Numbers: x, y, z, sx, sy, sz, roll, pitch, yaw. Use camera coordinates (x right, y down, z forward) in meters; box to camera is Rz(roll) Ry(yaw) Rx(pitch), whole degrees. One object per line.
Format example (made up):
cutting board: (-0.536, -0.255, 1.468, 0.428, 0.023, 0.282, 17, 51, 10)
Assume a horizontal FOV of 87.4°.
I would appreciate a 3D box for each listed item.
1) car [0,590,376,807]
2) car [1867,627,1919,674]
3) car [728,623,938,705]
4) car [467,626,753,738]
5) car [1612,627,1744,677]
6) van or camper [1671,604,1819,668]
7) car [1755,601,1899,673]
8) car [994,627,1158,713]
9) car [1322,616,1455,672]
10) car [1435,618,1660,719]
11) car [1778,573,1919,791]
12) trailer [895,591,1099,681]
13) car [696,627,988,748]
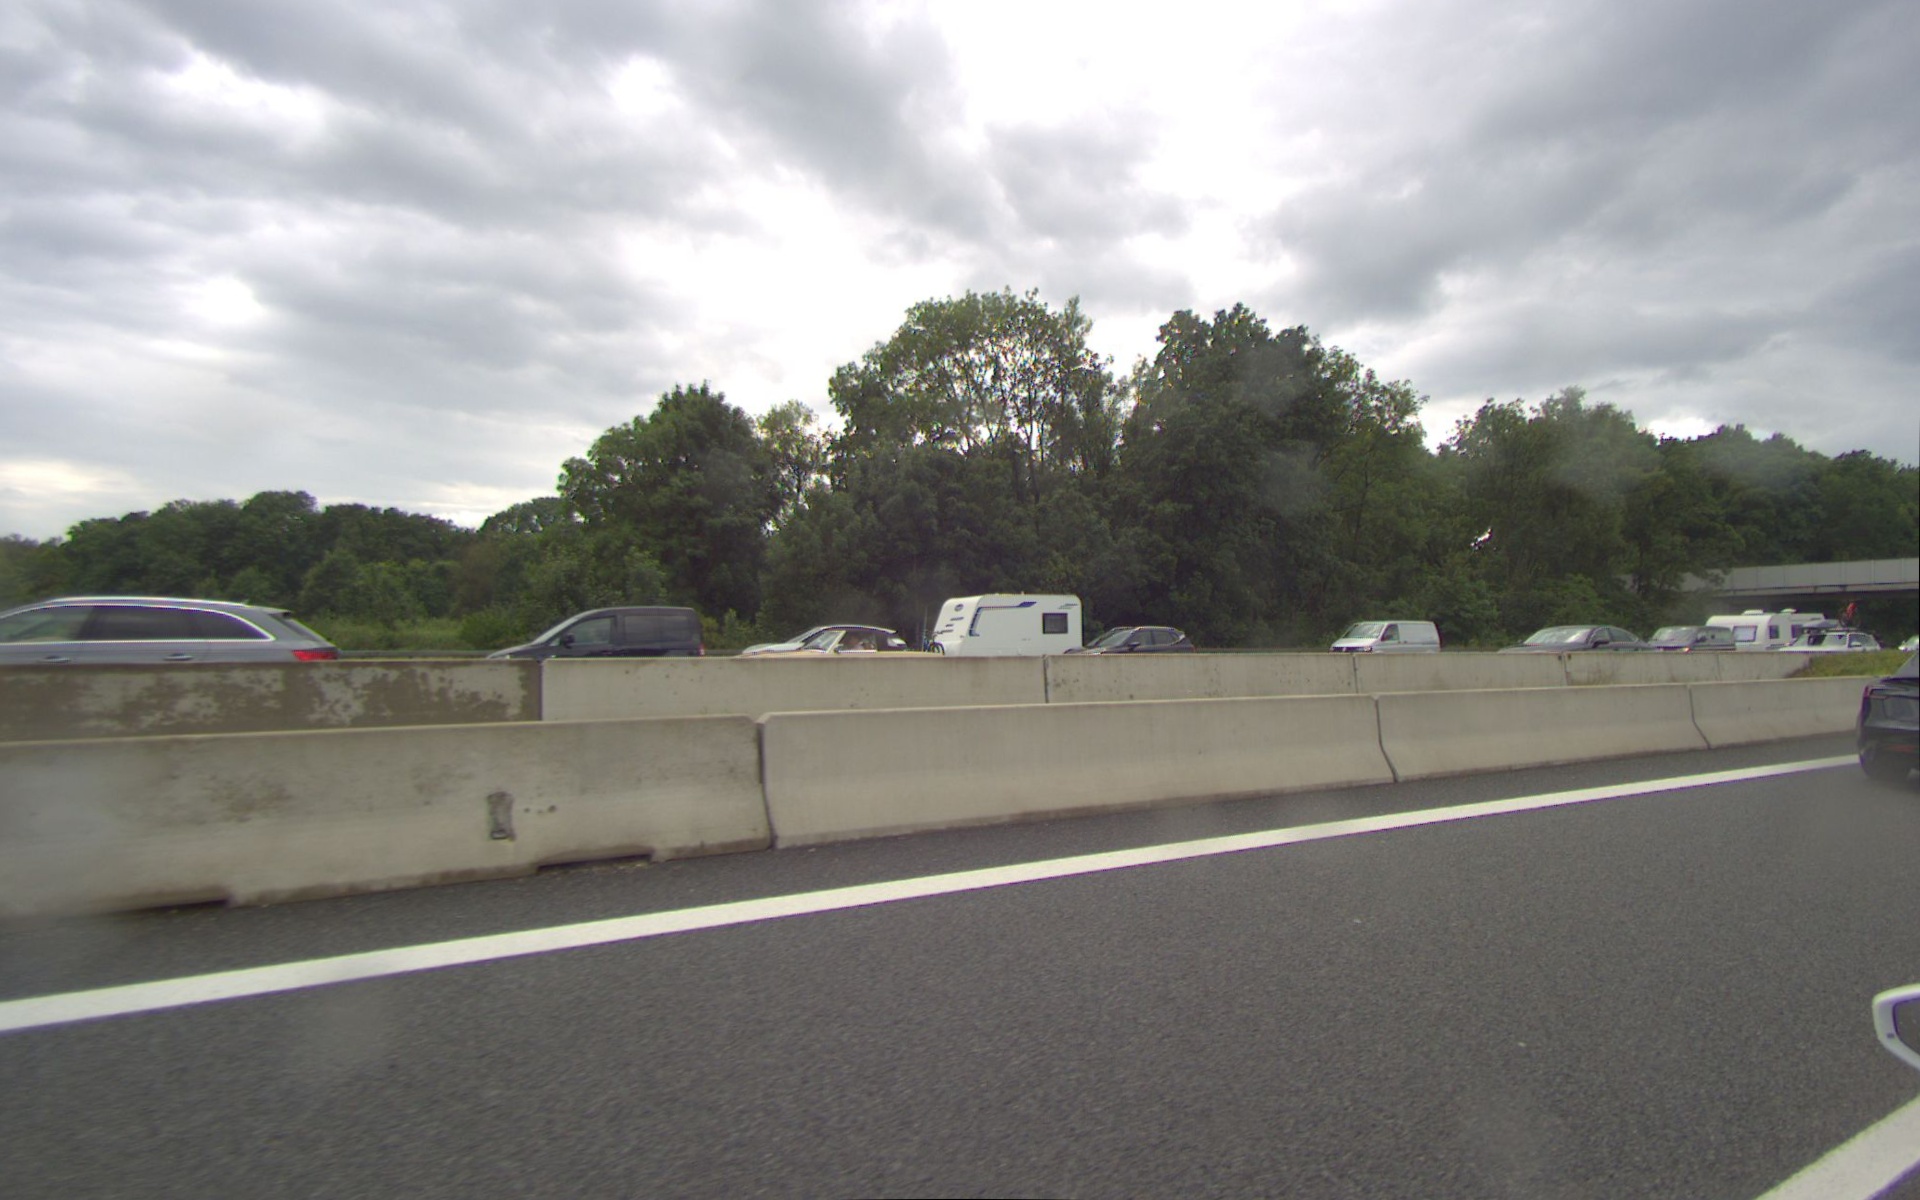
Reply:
car: (-9.009, 0.906, 10.307, 5.164, 1.978, 2.231, 1, -1, -30)
car: (43.312, 2.254, 45.484, 4.732, 2.040, 2.034, 1, -1, -30)
car: (-3.329, 1.627, 26.668, 5.164, 1.978, 1.984, 1, -1, -30)
car: (-6.977, 1.539, 20.214, 5.164, 1.978, 1.984, 1, -1, -30)
car: (30.527, 2.152, 42.672, 5.442, 1.978, 2.593, 1, -1, -30)
van or camper: (35.946, 1.602, 45.926, 8.029, 2.743, 2.593, 1, -1, -30)
car: (28.348, 1.179, 32.802, 5.227, 2.210, 1.984, 1, 0, -30)
car: (3.028, 1.749, 26.124, 3.953, 2.040, 1.808, 1, 0, -30)
car: (16.261, 1.615, 38.038, 5.164, 1.978, 1.984, 1, -1, -30)
car: (12.914, 1.409, 21.989, 5.164, 1.978, 1.984, 1, -1, -30)
car: (10.301, 0.735, 9.808, 5.103, 1.845, 1.983, 1, -1, -31)
trailer: (1.131, 1.023, 29.519, 5.716, 2.406, 2.231, 1, 0, -30)
car: (-2.169, 1.538, 19.068, 5.164, 1.978, 1.984, 1, -1, -30)
